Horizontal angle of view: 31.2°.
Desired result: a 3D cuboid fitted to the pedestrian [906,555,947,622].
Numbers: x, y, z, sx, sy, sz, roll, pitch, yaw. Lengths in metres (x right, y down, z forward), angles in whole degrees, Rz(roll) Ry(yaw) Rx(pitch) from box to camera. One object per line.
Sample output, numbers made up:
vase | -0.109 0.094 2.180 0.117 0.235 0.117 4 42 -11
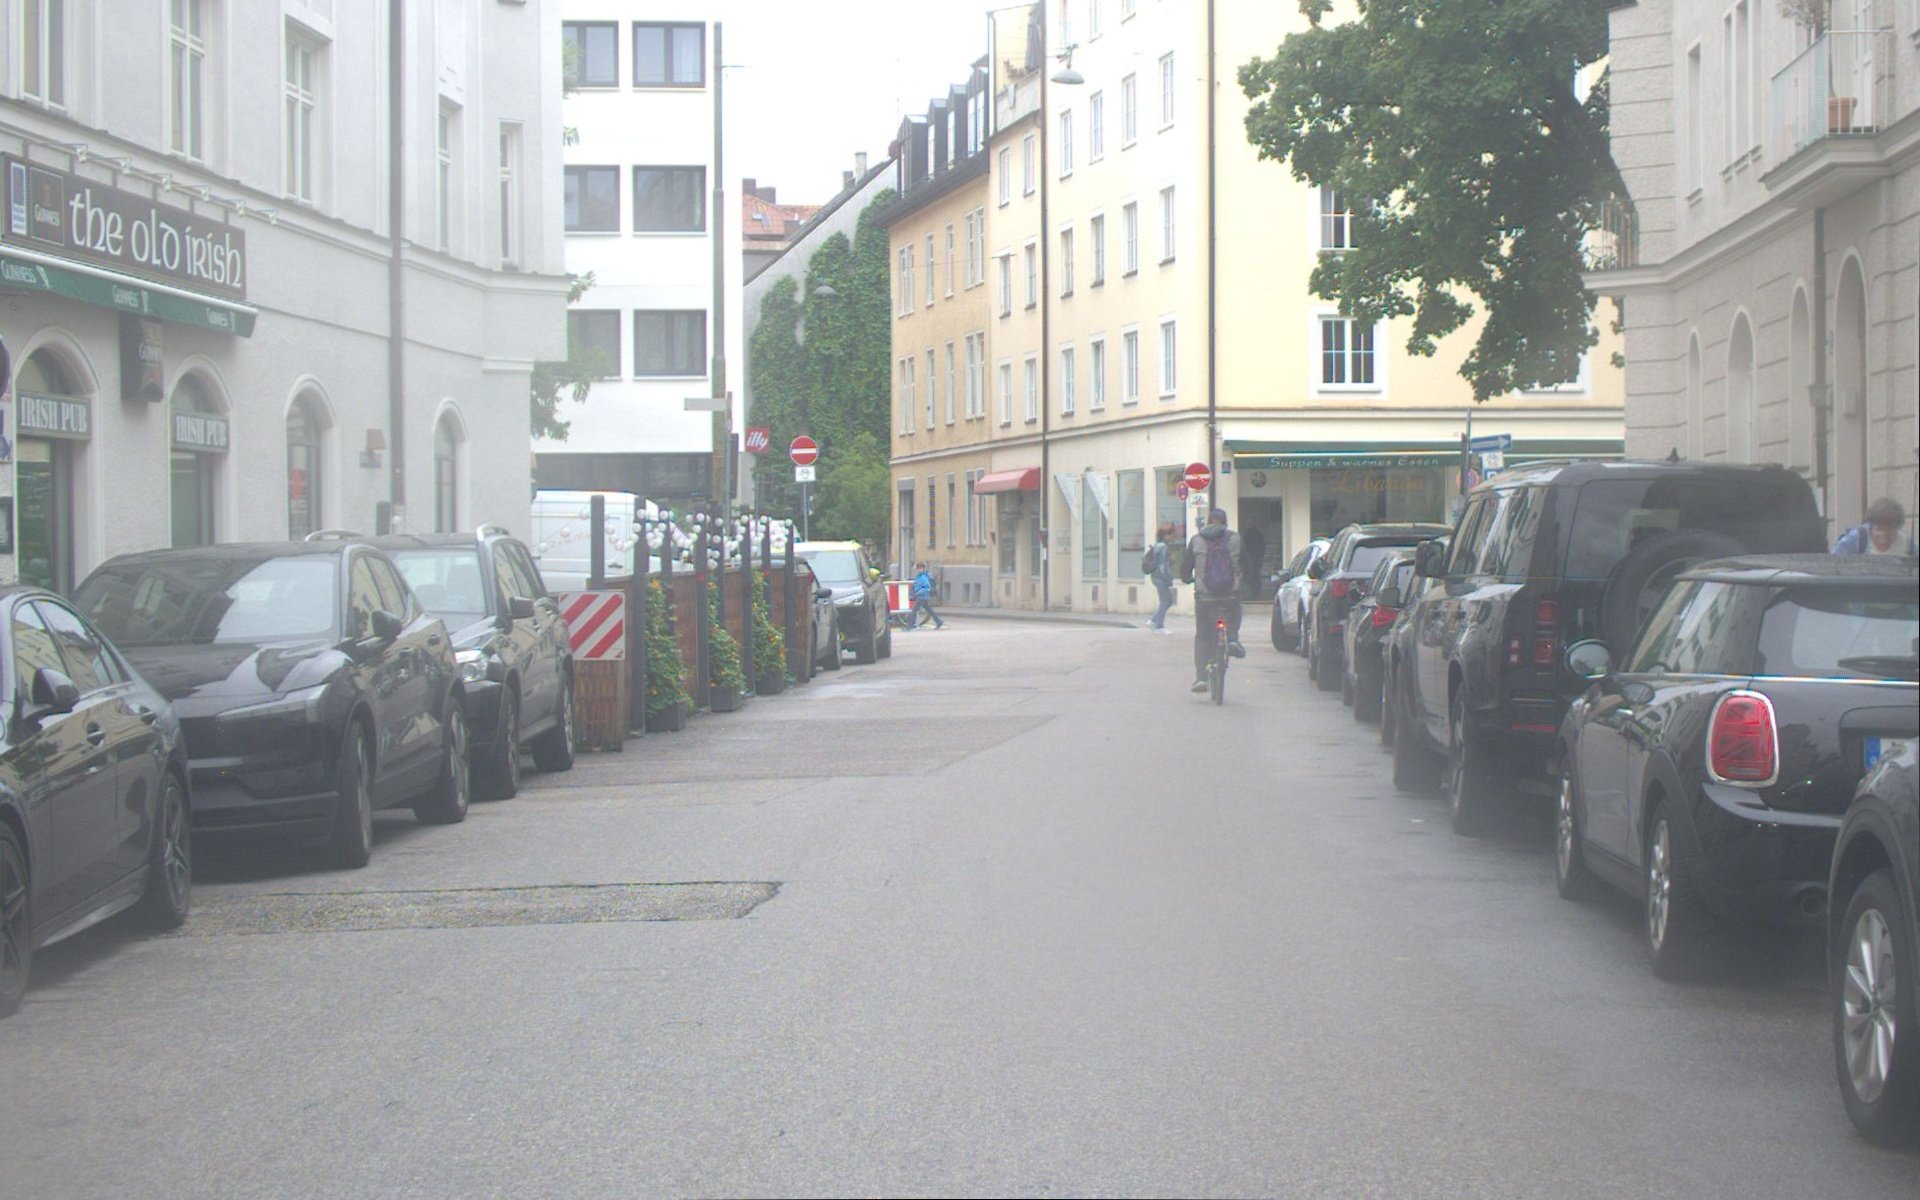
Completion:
pedestrian | -0.647 -0.227 67.036 0.699 1.266 0.651 -1 1 6

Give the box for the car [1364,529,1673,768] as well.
car | 3.800 0.273 23.903 1.655 1.520 3.637 0 1 2

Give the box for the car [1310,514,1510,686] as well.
car | 4.536 -0.050 35.174 1.777 1.630 4.374 1 1 4

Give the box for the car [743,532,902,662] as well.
car | -1.785 -0.063 45.801 1.676 1.591 3.945 -2 1 3

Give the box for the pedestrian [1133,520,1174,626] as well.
pedestrian | 3.069 -0.432 54.404 0.611 1.655 0.551 0 1 6

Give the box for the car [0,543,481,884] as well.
car | -3.611 0.468 17.294 1.742 1.481 4.181 -1 1 1

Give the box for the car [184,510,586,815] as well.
car | -3.561 0.312 22.056 1.746 1.667 4.276 -3 1 0

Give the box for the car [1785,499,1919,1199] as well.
car | 3.011 0.601 6.865 1.707 1.582 4.000 1 1 0

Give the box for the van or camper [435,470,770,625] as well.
van or camper | -6.450 -0.931 62.190 5.903 2.668 1.873 -1 -1 -6

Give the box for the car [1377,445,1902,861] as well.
car | 3.442 0.201 18.346 1.911 1.879 4.714 2 1 1

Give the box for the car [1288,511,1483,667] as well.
car | 4.918 -0.163 40.267 1.789 1.707 4.426 -1 1 1

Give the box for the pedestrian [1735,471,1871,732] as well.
pedestrian | 5.718 0.004 23.348 0.703 1.722 0.703 -2 1 -1

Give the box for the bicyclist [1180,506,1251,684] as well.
bicyclist | 2.332 -0.056 31.350 0.606 1.601 0.757 -1 1 6

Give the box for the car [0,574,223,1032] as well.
car | -3.988 0.655 12.411 1.810 1.380 4.444 -2 1 -2

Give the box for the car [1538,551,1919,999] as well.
car | 3.177 0.538 12.657 1.664 1.390 3.581 1 1 3

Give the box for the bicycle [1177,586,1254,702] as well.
bicycle | 2.334 0.388 31.300 0.639 1.001 1.574 -1 1 6

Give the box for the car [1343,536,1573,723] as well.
car | 4.214 0.200 29.603 1.707 1.466 4.200 0 1 5

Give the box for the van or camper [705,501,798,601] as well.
van or camper | -5.507 -1.284 90.234 1.993 2.531 4.761 -1 1 -9

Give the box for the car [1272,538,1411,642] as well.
car | 5.497 -0.181 49.948 1.669 1.430 4.213 0 1 2

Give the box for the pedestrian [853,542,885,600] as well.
pedestrian | -2.804 -0.898 105.704 0.877 1.772 0.774 -1 1 -9

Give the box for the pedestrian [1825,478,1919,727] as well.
pedestrian | 6.423 0.005 23.702 0.679 1.668 0.654 -3 1 -1

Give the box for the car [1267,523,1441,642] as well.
car | 5.161 -0.253 45.462 1.750 1.491 3.910 0 1 -1
